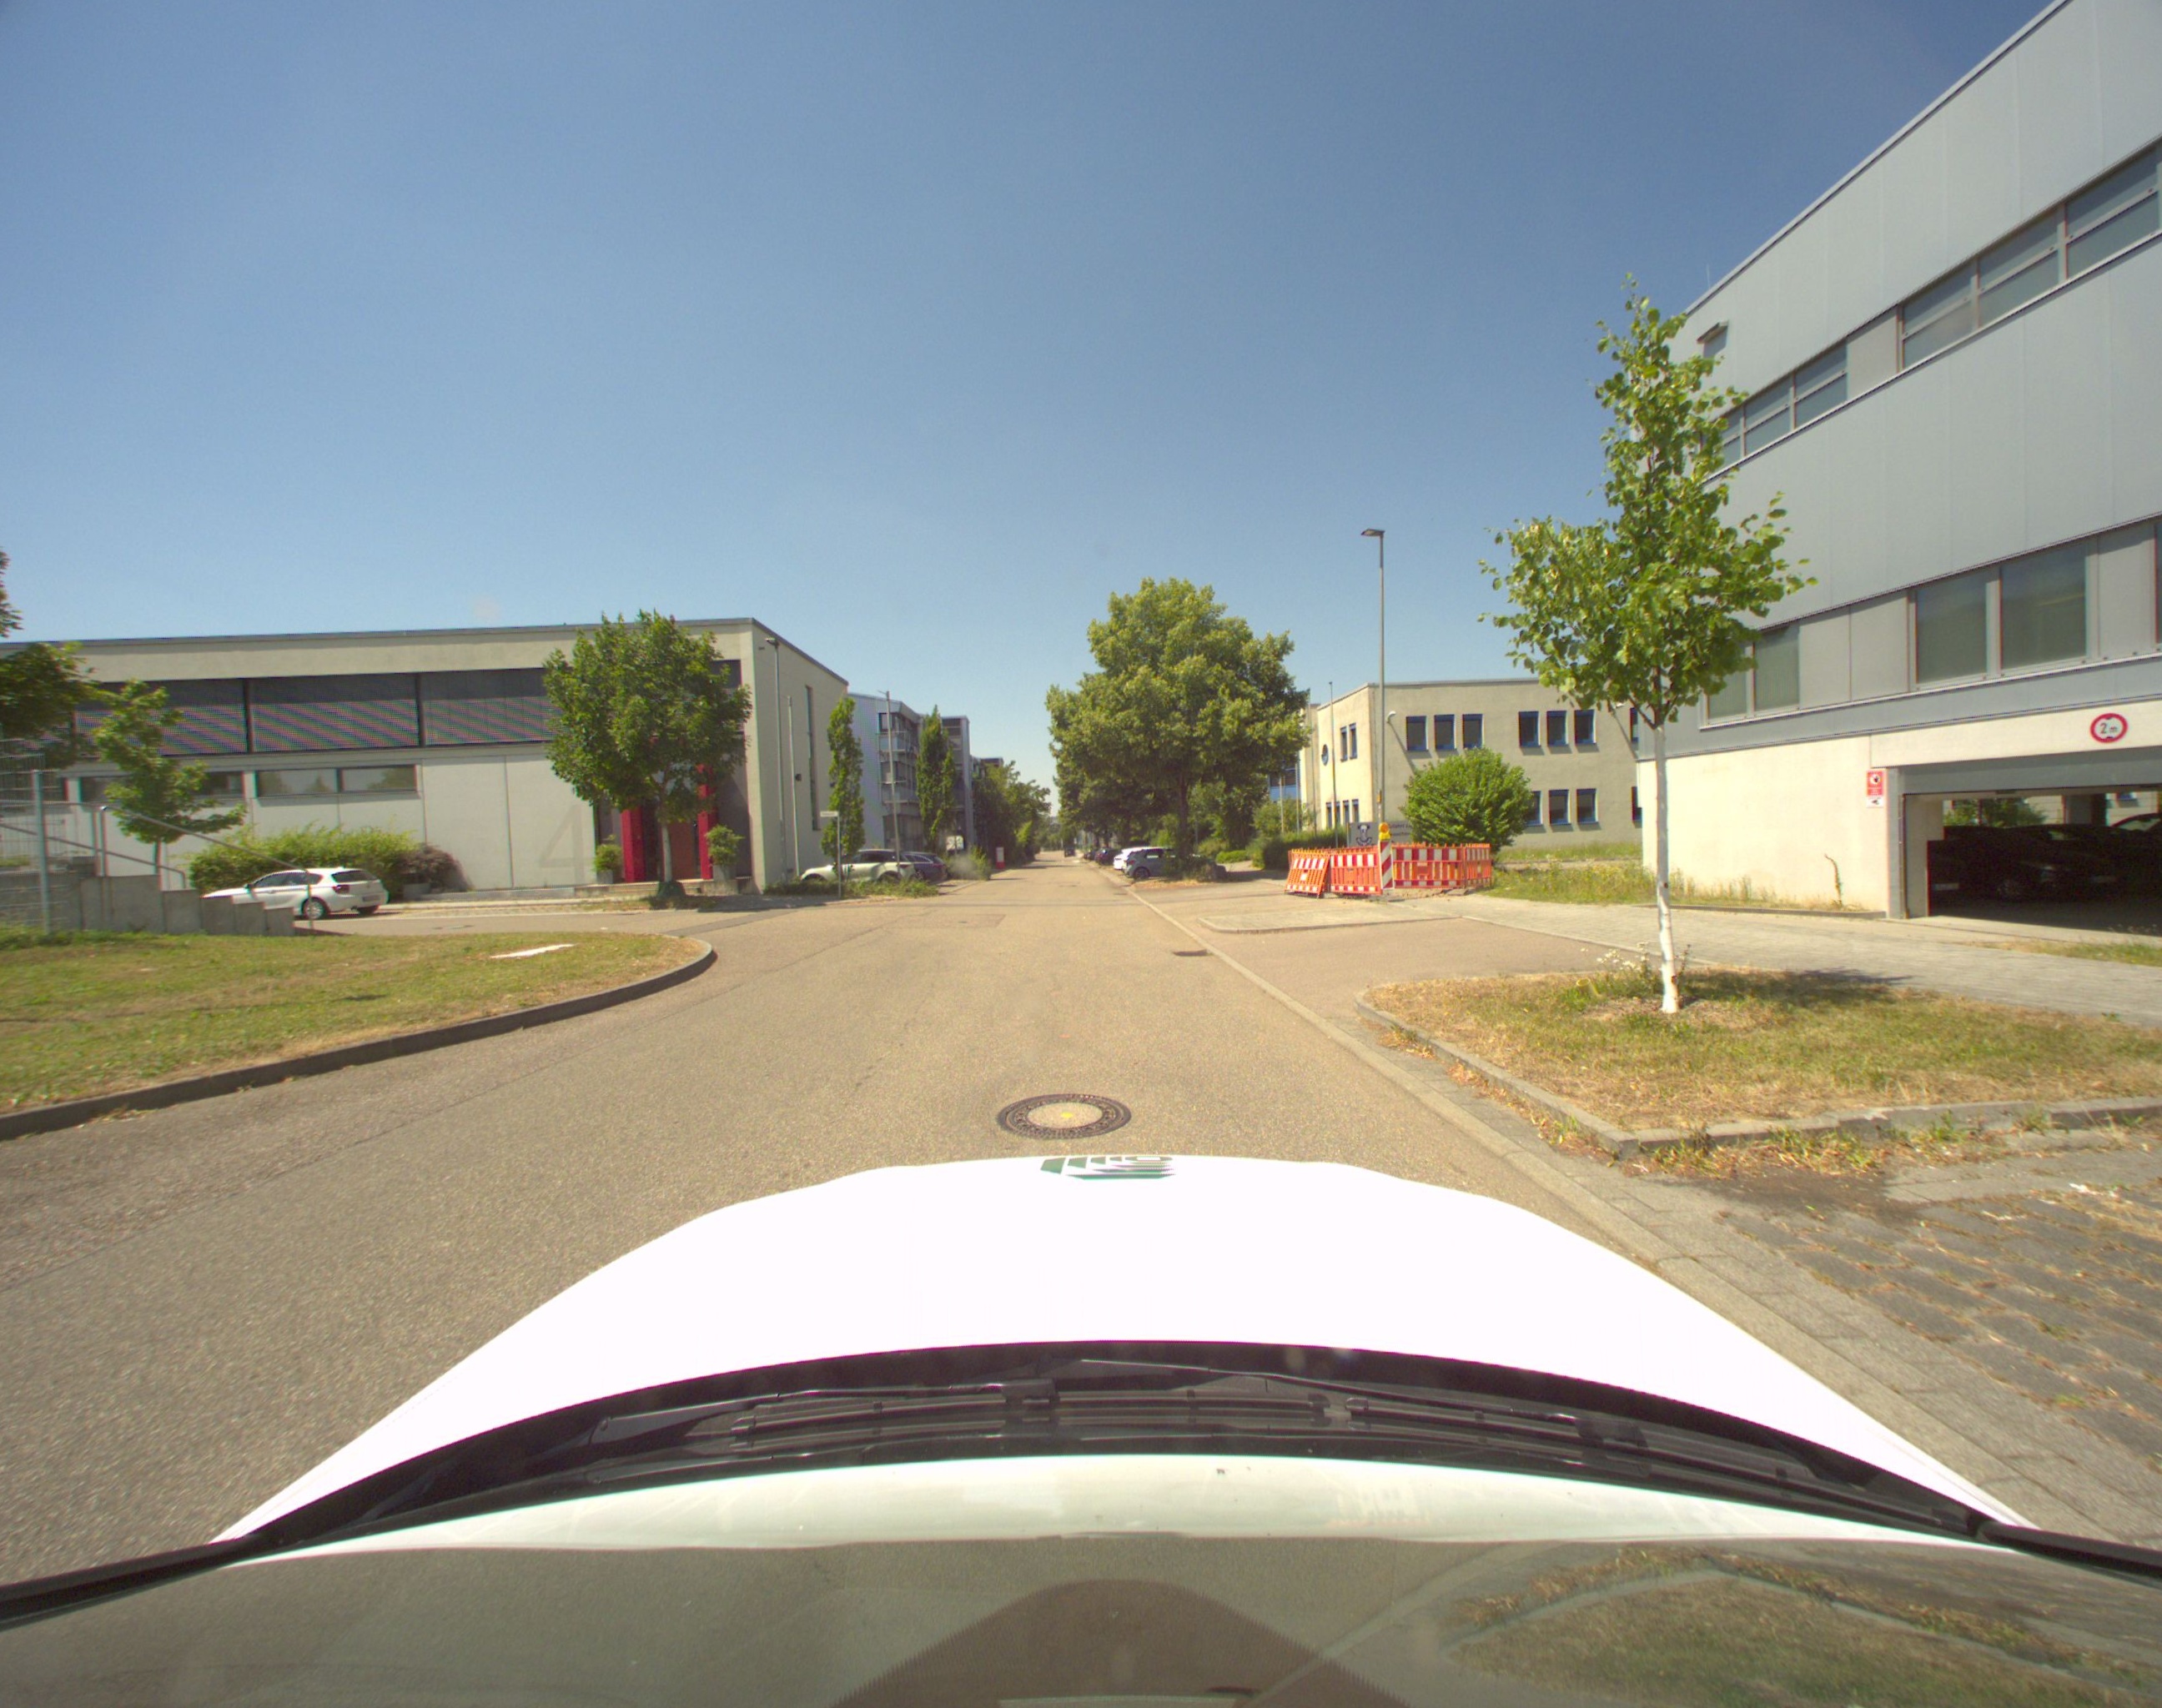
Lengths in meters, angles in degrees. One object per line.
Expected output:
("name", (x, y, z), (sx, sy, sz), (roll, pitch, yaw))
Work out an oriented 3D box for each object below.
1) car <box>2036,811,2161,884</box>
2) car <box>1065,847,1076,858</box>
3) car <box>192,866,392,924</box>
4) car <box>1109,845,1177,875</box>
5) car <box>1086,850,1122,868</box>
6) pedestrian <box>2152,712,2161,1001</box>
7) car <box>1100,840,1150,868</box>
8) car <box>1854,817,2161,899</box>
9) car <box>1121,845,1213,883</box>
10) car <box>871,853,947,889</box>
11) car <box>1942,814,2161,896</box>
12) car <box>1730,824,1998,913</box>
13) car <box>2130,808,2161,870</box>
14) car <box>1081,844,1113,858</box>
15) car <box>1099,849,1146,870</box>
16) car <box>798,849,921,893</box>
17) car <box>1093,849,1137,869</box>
("car", (24.150, -0.151, 17.820), (1.875, 1.452, 4.003), (-3, 3, 2))
("car", (-1.883, -0.263, 146.154), (1.755, 1.755, 3.943), (-1, 0, 0))
("car", (-22.559, 1.152, 23.396), (3.988, 1.408, 1.657), (-1, 3, -1))
("car", (3.412, 0.343, 45.205), (3.512, 1.354, 1.535), (-4, 0, -6))
("car", (2.688, 0.547, 94.976), (3.930, 1.834, 1.762), (-2, 3, -9))
("pedestrian", (7.634, 0.010, 4.902), (0.865, 1.889, 1.208), (-2, 1, -17))
("car", (3.446, 0.029, 64.322), (3.712, 2.110, 1.813), (-1, 0, -2))
("car", (18.794, 0.080, 16.850), (1.875, 1.477, 4.002), (-1, 0, 2))
("car", (3.720, 0.427, 35.468), (3.674, 1.354, 1.642), (-4, 0, -6))
("car", (-7.327, 0.717, 34.789), (3.056, 1.478, 1.289), (-1, 0, -8))
("car", (21.711, -0.069, 17.690), (1.875, 1.452, 4.003), (-3, 3, 2))
("car", (15.922, 0.191, 16.914), (1.819, 1.452, 4.003), (-3, 3, 2))
("car", (26.576, -0.293, 17.938), (1.875, 1.452, 4.003), (-3, 3, 2))
("car", (2.058, -0.419, 107.162), (3.930, 1.577, 1.762), (-2, 3, -9))
("car", (3.408, 0.461, 67.639), (3.712, 1.627, 1.813), (-1, 0, -2))
("car", (-8.081, 0.613, 29.971), (4.038, 1.495, 1.726), (-1, 0, -4))
("car", (3.012, 0.444, 72.690), (3.712, 1.627, 1.813), (-1, 0, -2))
